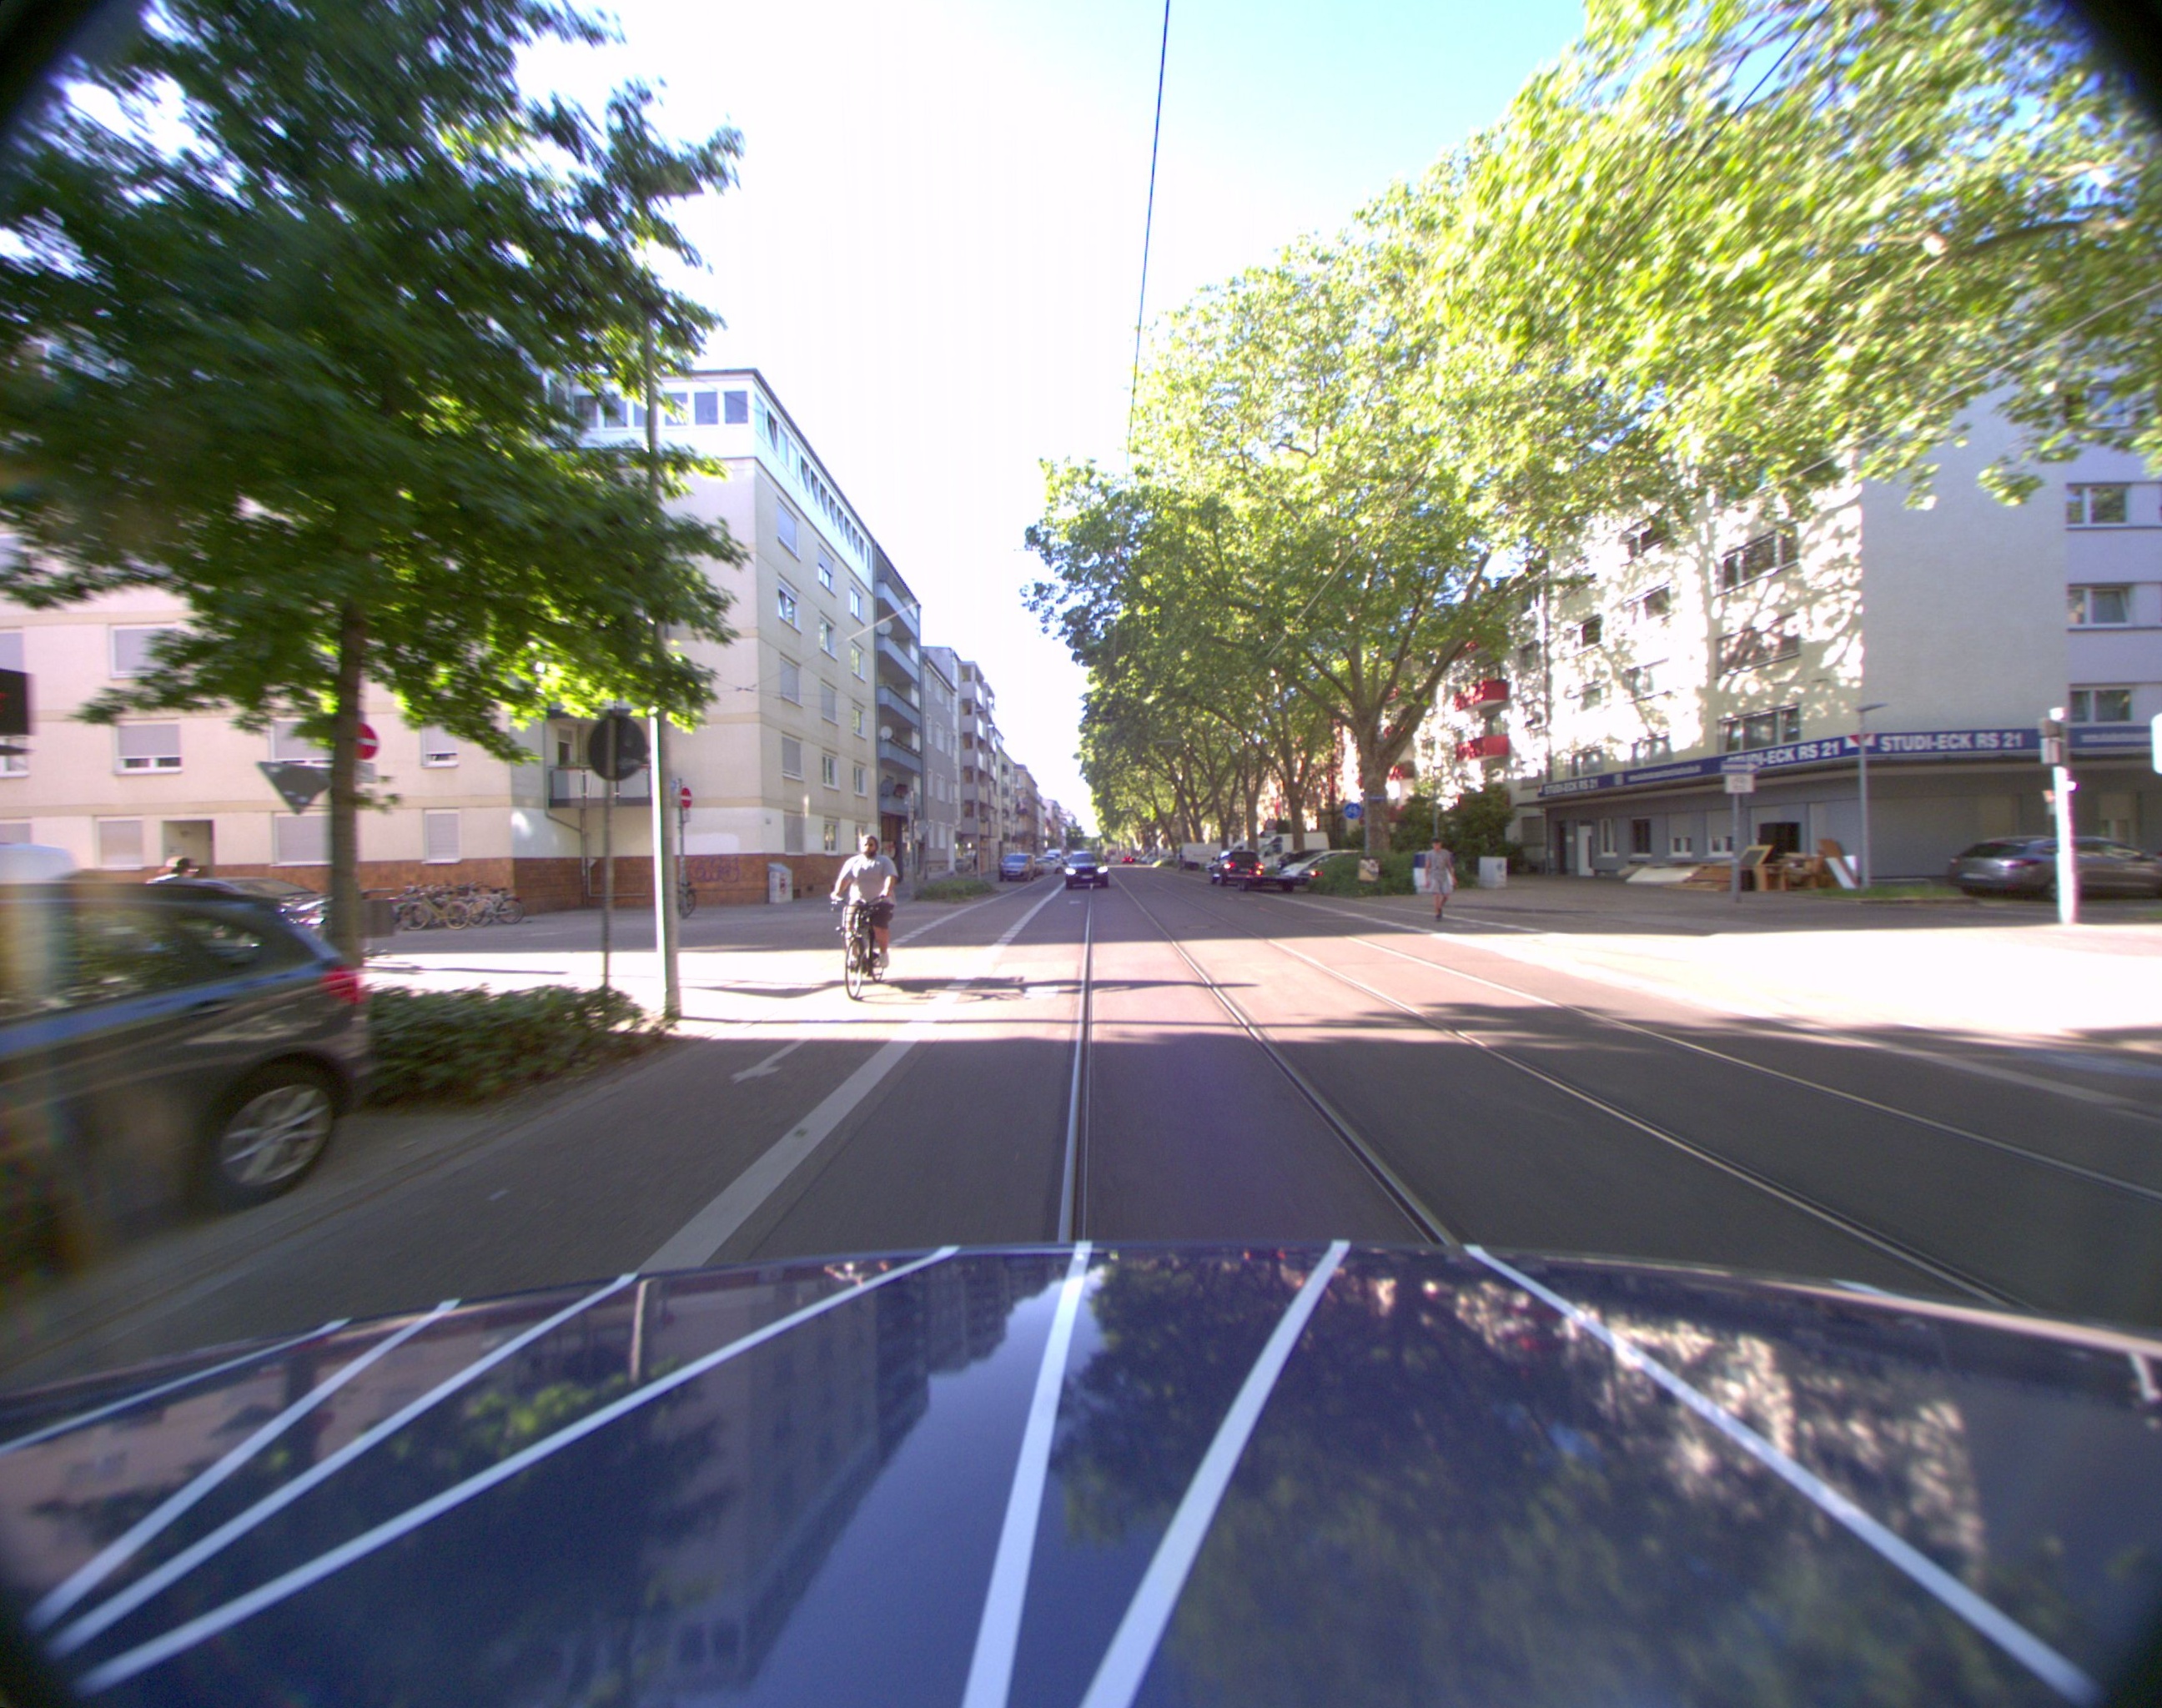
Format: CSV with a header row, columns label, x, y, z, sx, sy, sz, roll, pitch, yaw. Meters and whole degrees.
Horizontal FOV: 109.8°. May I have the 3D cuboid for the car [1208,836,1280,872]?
label,x,y,z,sx,sy,sz,roll,pitch,yaw
car,11.509,-0.002,53.912,4.661,2.293,2.000,-2,1,1

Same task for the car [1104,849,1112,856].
label,x,y,z,sx,sy,sz,roll,pitch,yaw
car,6.922,-0.486,197.602,1.998,1.723,4.399,-2,1,1

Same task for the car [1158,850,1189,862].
label,x,y,z,sx,sy,sz,roll,pitch,yaw
car,12.469,0.224,102.625,3.997,1.458,2.000,-2,1,-1

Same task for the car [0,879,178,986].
label,x,y,z,sx,sy,sz,roll,pitch,yaw
car,-18.149,1.301,12.653,3.997,1.572,1.724,-2,1,-1

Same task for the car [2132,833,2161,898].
label,x,y,z,sx,sy,sz,roll,pitch,yaw
car,28.433,0.249,18.103,4.152,1.597,1.896,-1,1,0

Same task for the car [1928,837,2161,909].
label,x,y,z,sx,sy,sz,roll,pitch,yaw
car,23.426,0.404,18.230,4.152,1.469,1.834,-2,2,0

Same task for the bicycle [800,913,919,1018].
label,x,y,z,sx,sy,sz,roll,pitch,yaw
bicycle,-2.582,1.274,9.133,0.790,0.932,1.939,-2,1,1

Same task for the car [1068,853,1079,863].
label,x,y,z,sx,sy,sz,roll,pitch,yaw
car,-1.575,0.771,153.543,1.998,2.002,4.000,-2,1,1

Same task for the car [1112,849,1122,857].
label,x,y,z,sx,sy,sz,roll,pitch,yaw
car,7.994,-0.214,168.456,1.998,1.723,4.399,-2,1,1

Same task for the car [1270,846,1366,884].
label,x,y,z,sx,sy,sz,roll,pitch,yaw
car,11.436,0.503,36.908,3.997,1.635,2.000,-2,1,-1

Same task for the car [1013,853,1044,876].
label,x,y,z,sx,sy,sz,roll,pitch,yaw
car,-4.158,0.831,60.858,1.998,1.674,4.000,-2,1,1

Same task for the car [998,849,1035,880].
label,x,y,z,sx,sy,sz,roll,pitch,yaw
car,-4.309,0.666,51.175,1.958,1.914,4.000,-2,1,1

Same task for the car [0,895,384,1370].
label,x,y,z,sx,sy,sz,roll,pitch,yaw
car,-4.664,1.042,2.081,1.724,1.562,4.258,1,1,-3

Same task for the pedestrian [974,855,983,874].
label,x,y,z,sx,sy,sz,roll,pitch,yaw
pedestrian,-8.495,0.876,62.729,0.590,1.493,0.600,-2,1,1

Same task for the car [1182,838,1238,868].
label,x,y,z,sx,sy,sz,roll,pitch,yaw
car,11.567,-0.067,68.566,4.661,2.518,2.000,-2,1,1

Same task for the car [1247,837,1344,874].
label,x,y,z,sx,sy,sz,roll,pitch,yaw
car,12.713,0.064,45.238,5.134,1.984,1.999,-2,1,-4

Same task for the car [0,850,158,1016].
label,x,y,z,sx,sy,sz,roll,pitch,yaw
car,-13.668,0.927,8.792,3.995,1.787,1.786,-2,1,5

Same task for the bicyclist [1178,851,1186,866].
label,x,y,z,sx,sy,sz,roll,pitch,yaw
bicyclist,8.180,0.355,61.261,0.533,1.206,0.666,-2,1,1

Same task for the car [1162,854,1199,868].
label,x,y,z,sx,sy,sz,roll,pitch,yaw
car,11.652,0.817,89.104,3.997,1.458,2.000,-2,1,-1

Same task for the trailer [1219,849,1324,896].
label,x,y,z,sx,sy,sz,roll,pitch,yaw
trailer,7.471,0.646,30.681,2.453,1.622,6.583,1,1,-1

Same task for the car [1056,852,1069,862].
label,x,y,z,sx,sy,sz,roll,pitch,yaw
car,-2.929,0.437,121.310,1.867,1.499,4.000,-2,1,1

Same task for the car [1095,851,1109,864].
label,x,y,z,sx,sy,sz,roll,pitch,yaw
car,3.251,0.516,116.463,1.998,1.723,4.399,-2,1,1

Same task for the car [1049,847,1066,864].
label,x,y,z,sx,sy,sz,roll,pitch,yaw
car,-3.103,0.203,101.445,1.991,2.085,4.470,-2,1,1

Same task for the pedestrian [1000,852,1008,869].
label,x,y,z,sx,sy,sz,roll,pitch,yaw
pedestrian,-8.204,0.679,80.721,0.697,1.685,0.678,-2,1,1

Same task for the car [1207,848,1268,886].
label,x,y,z,sx,sy,sz,roll,pitch,yaw
car,7.369,0.580,36.110,1.928,1.674,4.181,1,1,-1

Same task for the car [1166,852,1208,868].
label,x,y,z,sx,sy,sz,roll,pitch,yaw
car,11.140,0.614,80.026,3.997,1.458,2.000,-2,1,-1

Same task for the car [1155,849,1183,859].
label,x,y,z,sx,sy,sz,roll,pitch,yaw
car,13.573,-0.005,117.440,3.997,1.458,2.000,-2,1,-1

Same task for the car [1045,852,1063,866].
label,x,y,z,sx,sy,sz,roll,pitch,yaw
car,-3.287,0.598,92.004,1.867,1.499,4.000,-2,1,1

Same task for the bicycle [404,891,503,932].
label,x,y,z,sx,sy,sz,roll,pitch,yaw
bicycle,-15.784,1.436,19.123,2.109,0.925,0.499,-2,1,4

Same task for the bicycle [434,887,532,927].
label,x,y,z,sx,sy,sz,roll,pitch,yaw
bicycle,-15.552,1.377,19.783,2.109,0.986,0.607,-1,1,4

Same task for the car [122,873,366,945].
label,x,y,z,sx,sy,sz,roll,pitch,yaw
car,-20.514,1.316,18.753,3.997,1.499,1.725,-2,1,-1

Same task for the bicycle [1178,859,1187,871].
label,x,y,z,sx,sy,sz,roll,pitch,yaw
bicycle,8.197,0.846,61.266,0.533,0.901,1.557,-2,1,1

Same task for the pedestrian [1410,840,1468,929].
label,x,y,z,sx,sy,sz,roll,pitch,yaw
pedestrian,7.474,0.621,15.885,0.700,1.781,0.801,-2,1,-12

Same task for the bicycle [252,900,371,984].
label,x,y,z,sx,sy,sz,roll,pitch,yaw
bicycle,-11.961,1.347,11.794,2.069,1.200,0.482,-2,1,22

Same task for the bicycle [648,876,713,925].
label,x,y,z,sx,sy,sz,roll,pitch,yaw
bicycle,-10.602,1.218,20.205,0.616,1.145,1.995,-1,1,1

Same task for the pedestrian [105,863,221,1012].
label,x,y,z,sx,sy,sz,roll,pitch,yaw
pedestrian,-10.919,0.952,9.070,0.706,1.675,0.770,0,0,-36

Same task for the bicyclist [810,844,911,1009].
label,x,y,z,sx,sy,sz,roll,pitch,yaw
bicyclist,-2.600,0.808,9.080,0.769,1.821,1.099,-3,1,1

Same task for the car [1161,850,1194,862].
label,x,y,z,sx,sy,sz,roll,pitch,yaw
car,12.572,0.256,99.290,3.997,1.458,2.000,-2,1,-1

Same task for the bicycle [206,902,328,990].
label,x,y,z,sx,sy,sz,roll,pitch,yaw
bicycle,-12.156,1.346,11.336,2.069,1.200,0.482,-2,1,22

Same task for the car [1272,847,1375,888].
label,x,y,z,sx,sy,sz,roll,pitch,yaw
car,10.864,0.583,34.201,3.997,1.600,1.908,-2,1,-1

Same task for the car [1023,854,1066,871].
label,x,y,z,sx,sy,sz,roll,pitch,yaw
car,-3.444,0.789,72.855,3.997,1.458,2.000,-2,1,-1

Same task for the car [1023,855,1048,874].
label,x,y,z,sx,sy,sz,roll,pitch,yaw
car,-3.974,0.909,67.104,1.867,1.499,4.000,-2,1,1

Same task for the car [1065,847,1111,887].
label,x,y,z,sx,sy,sz,roll,pitch,yaw
car,0.379,0.582,36.486,1.998,1.723,4.399,-3,1,1

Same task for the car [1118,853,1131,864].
label,x,y,z,sx,sy,sz,roll,pitch,yaw
car,7.972,0.796,139.607,1.998,1.723,4.399,-2,1,1

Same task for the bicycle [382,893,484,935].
label,x,y,z,sx,sy,sz,roll,pitch,yaw
bicycle,-15.788,1.455,18.513,2.109,0.925,0.499,-2,1,4
